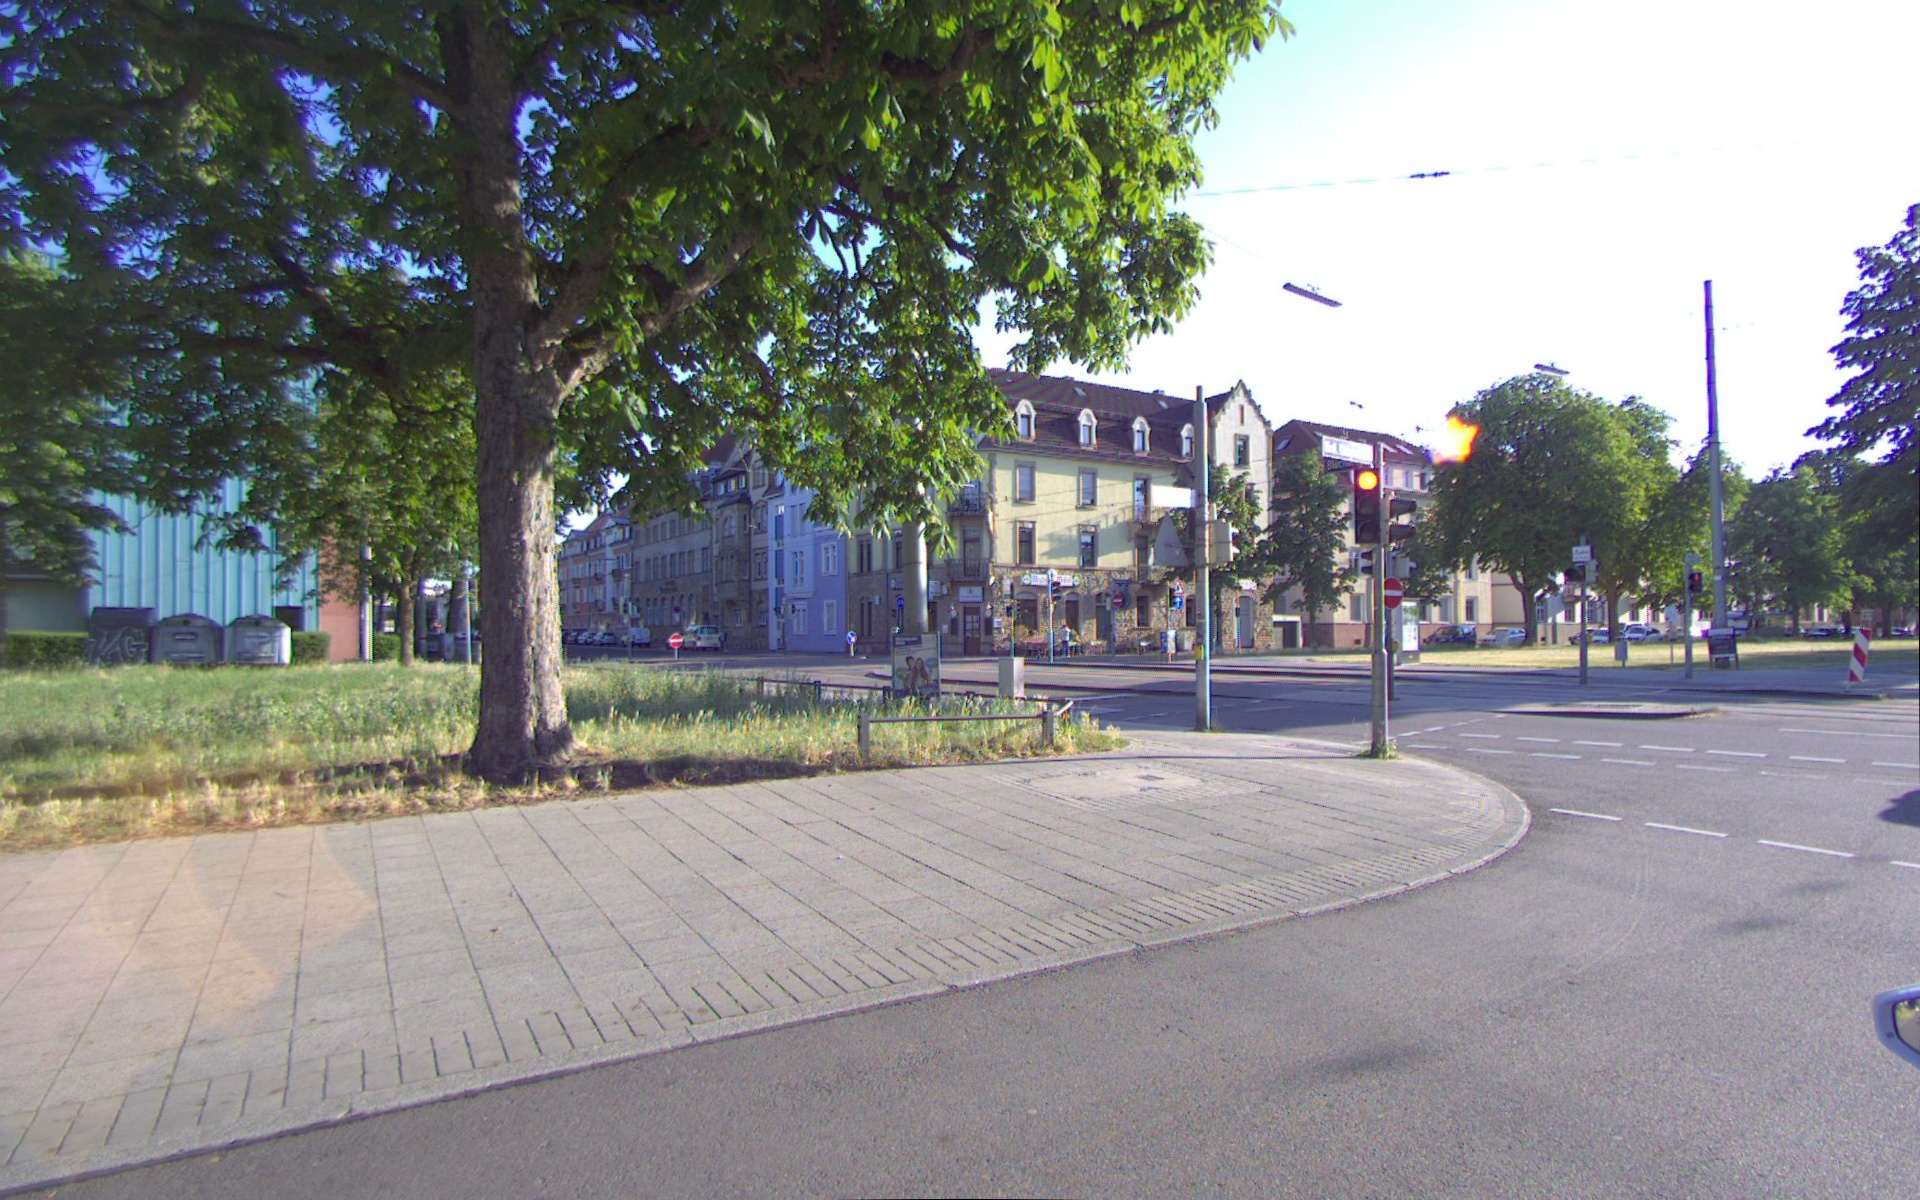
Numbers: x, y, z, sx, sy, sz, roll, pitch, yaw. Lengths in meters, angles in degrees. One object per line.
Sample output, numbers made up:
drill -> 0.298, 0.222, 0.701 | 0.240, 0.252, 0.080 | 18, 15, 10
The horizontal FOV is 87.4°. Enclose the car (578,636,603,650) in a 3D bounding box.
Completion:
car -> -39.894, 4.601, 108.402 | 1.867, 1.433, 4.013 | 1, -2, -29

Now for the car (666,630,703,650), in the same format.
car -> -22.803, 3.287, 83.115 | 2.074, 1.612, 4.014 | 2, -2, -29

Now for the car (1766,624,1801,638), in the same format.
car -> 86.180, 3.232, 105.106 | 3.749, 1.446, 1.729 | 1, -1, -31

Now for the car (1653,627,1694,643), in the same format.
car -> 65.851, 3.259, 92.709 | 3.749, 1.446, 1.729 | 1, -2, -31

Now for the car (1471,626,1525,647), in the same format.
car -> 40.815, 2.790, 76.237 | 3.741, 1.446, 1.733 | -1, 0, -26

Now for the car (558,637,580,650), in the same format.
car -> -45.908, 5.068, 117.874 | 1.867, 1.433, 4.013 | 1, -2, -29

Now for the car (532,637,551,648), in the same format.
car -> -54.643, 5.511, 131.107 | 1.867, 1.433, 4.013 | 1, -2, -29

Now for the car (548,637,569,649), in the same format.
car -> -48.940, 5.211, 122.385 | 1.867, 1.433, 4.013 | 1, -2, -29

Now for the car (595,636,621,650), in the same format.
car -> -36.438, 4.436, 103.879 | 1.867, 1.299, 4.013 | 1, -2, -29

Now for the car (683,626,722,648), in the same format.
car -> -20.122, 2.893, 78.397 | 2.074, 1.612, 4.014 | 2, -2, -29

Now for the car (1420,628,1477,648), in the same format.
car -> 35.437, 2.738, 72.871 | 3.741, 1.416, 1.733 | 1, -2, -26

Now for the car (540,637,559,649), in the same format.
car -> -51.972, 5.438, 127.131 | 1.867, 1.433, 4.013 | 1, -2, -29

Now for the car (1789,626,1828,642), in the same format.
car -> 80.217, 3.206, 94.952 | 3.749, 1.446, 1.729 | 1, -1, -31

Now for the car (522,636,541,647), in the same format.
car -> -57.572, 5.520, 134.910 | 1.867, 1.433, 4.013 | 1, -2, -29

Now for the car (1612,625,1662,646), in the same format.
car -> 51.358, 2.700, 76.134 | 3.748, 1.446, 1.729 | -1, 0, -31

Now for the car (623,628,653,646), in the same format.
car -> -30.151, 3.454, 94.082 | 1.888, 1.610, 4.013 | 2, -2, -29

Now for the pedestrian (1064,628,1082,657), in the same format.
pedestrian -> 6.460, 2.400, 57.223 | 0.715, 1.664, 0.811 | 0, -1, -23

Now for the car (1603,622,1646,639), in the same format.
car -> 57.487, 2.616, 86.875 | 3.749, 1.446, 1.729 | 1, -1, -31

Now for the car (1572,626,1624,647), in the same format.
car -> 46.313, 2.620, 72.943 | 3.749, 1.446, 1.729 | 1, -1, -31

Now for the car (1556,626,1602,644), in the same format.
car -> 52.002, 2.903, 84.355 | 3.749, 1.446, 1.729 | 1, -2, -31

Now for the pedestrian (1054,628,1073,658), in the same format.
pedestrian -> 5.790, 2.373, 56.191 | 0.714, 1.664, 0.813 | -1, -2, 35

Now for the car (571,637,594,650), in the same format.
car -> -42.631, 4.921, 113.523 | 1.867, 1.433, 4.013 | 1, -2, -29
